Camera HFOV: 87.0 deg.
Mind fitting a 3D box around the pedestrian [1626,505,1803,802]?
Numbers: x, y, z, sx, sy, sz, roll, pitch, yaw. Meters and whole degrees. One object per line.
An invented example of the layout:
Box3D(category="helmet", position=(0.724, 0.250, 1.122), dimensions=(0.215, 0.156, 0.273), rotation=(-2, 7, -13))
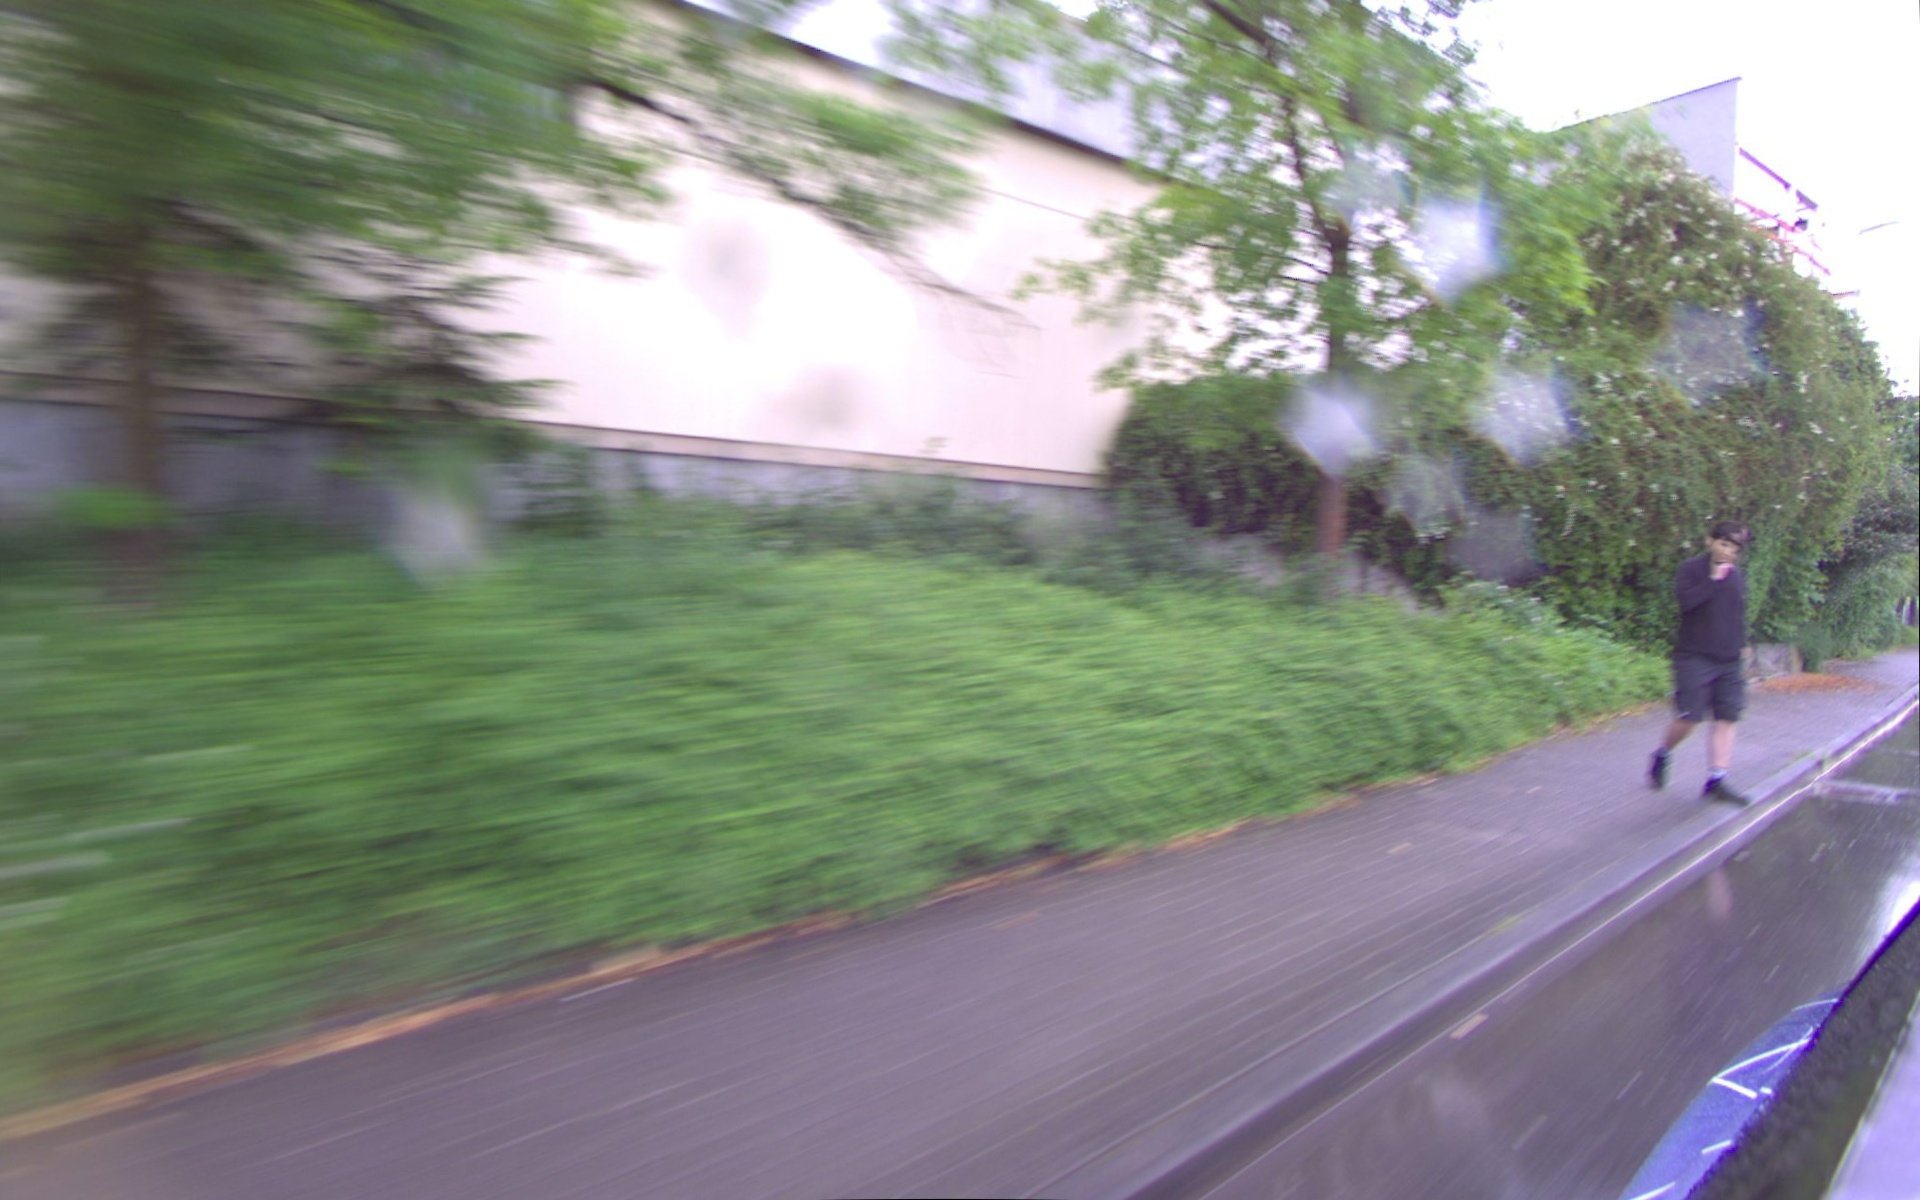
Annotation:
Box3D(category="pedestrian", position=(5.149, 0.320, 6.909), dimensions=(0.875, 1.860, 0.746), rotation=(1, 2, -42))
